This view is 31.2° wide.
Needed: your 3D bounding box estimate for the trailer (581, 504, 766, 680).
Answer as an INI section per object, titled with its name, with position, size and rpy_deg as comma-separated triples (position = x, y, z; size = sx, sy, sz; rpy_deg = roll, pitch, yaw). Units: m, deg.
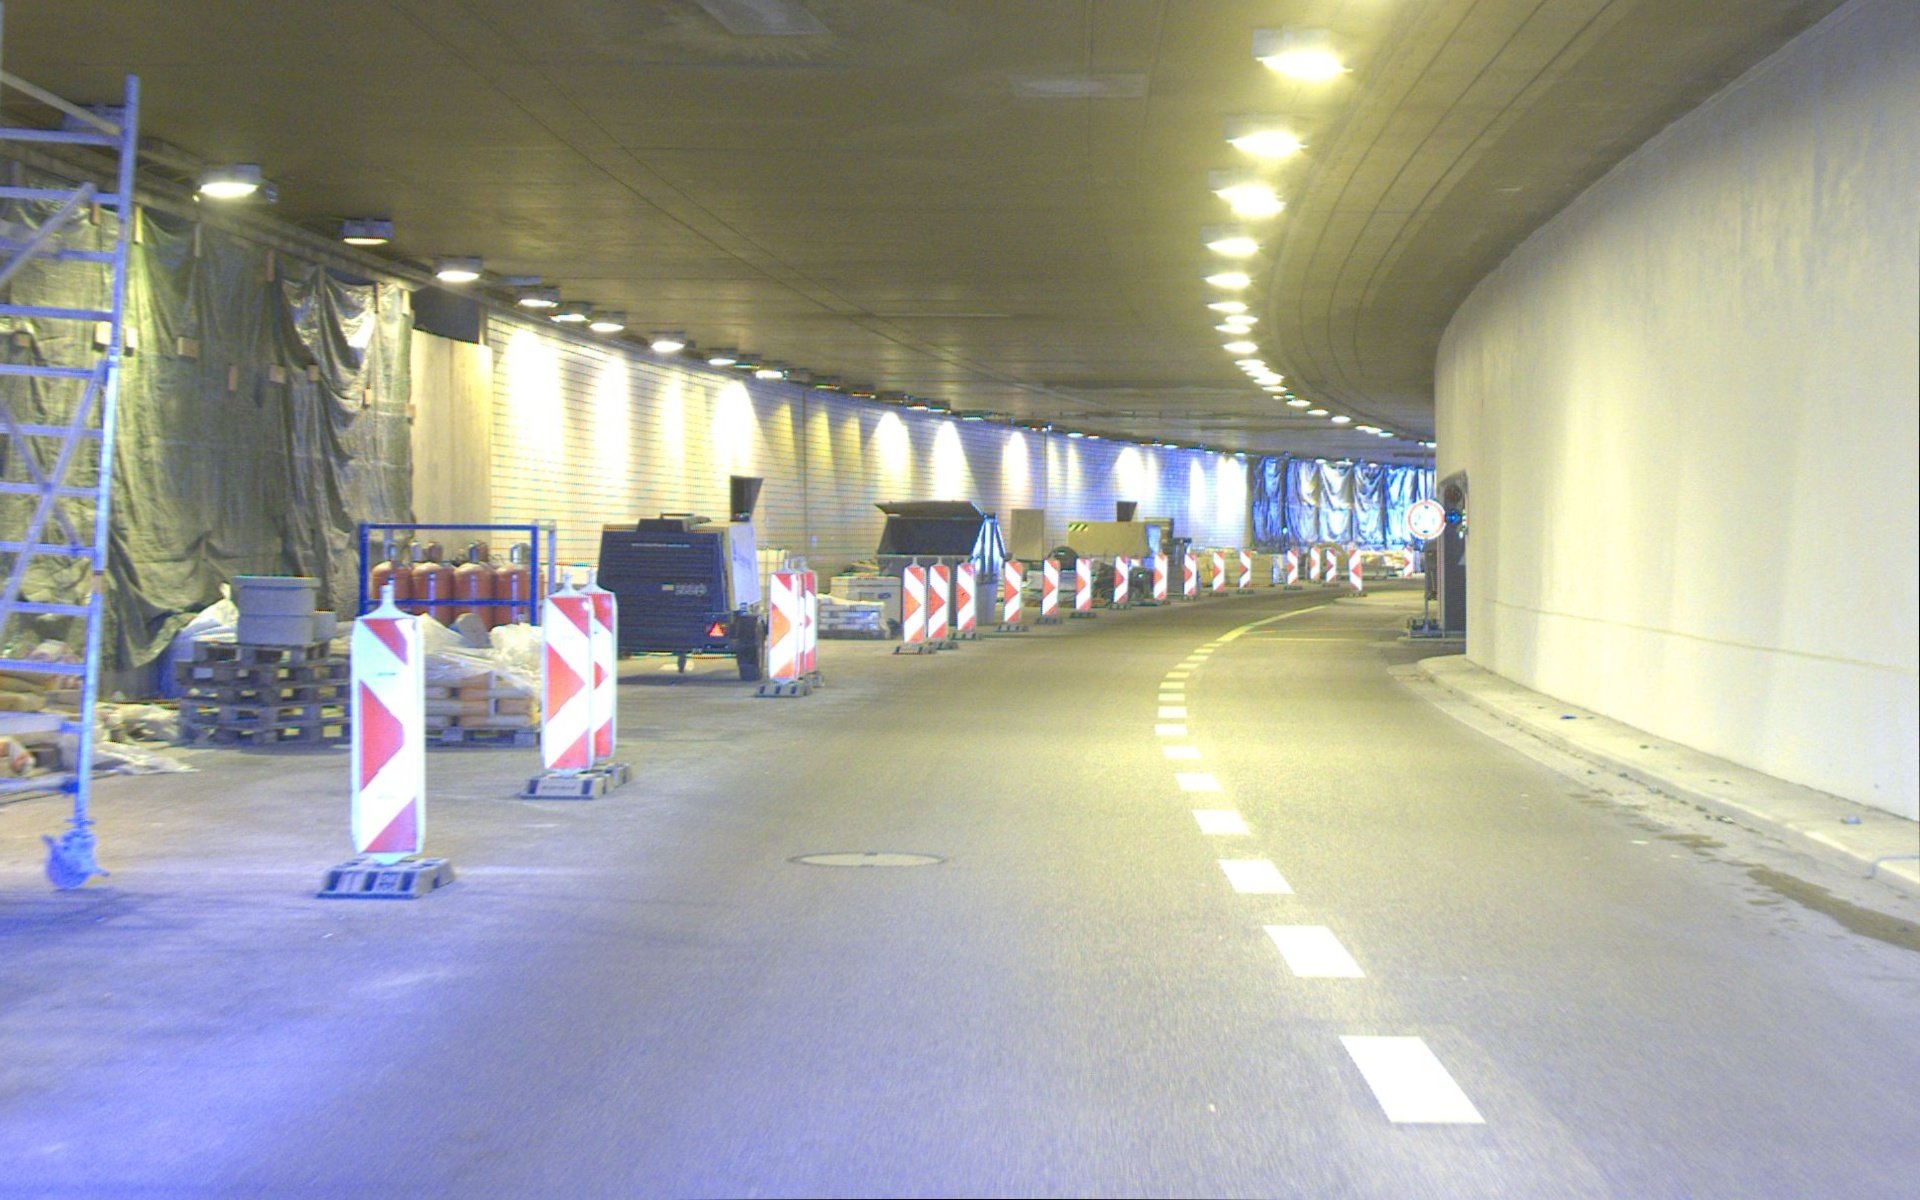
[trailer]
position = -3.047, -0.102, 36.971
size = 1.581, 1.792, 2.939
rpy_deg = 1, 1, 3
